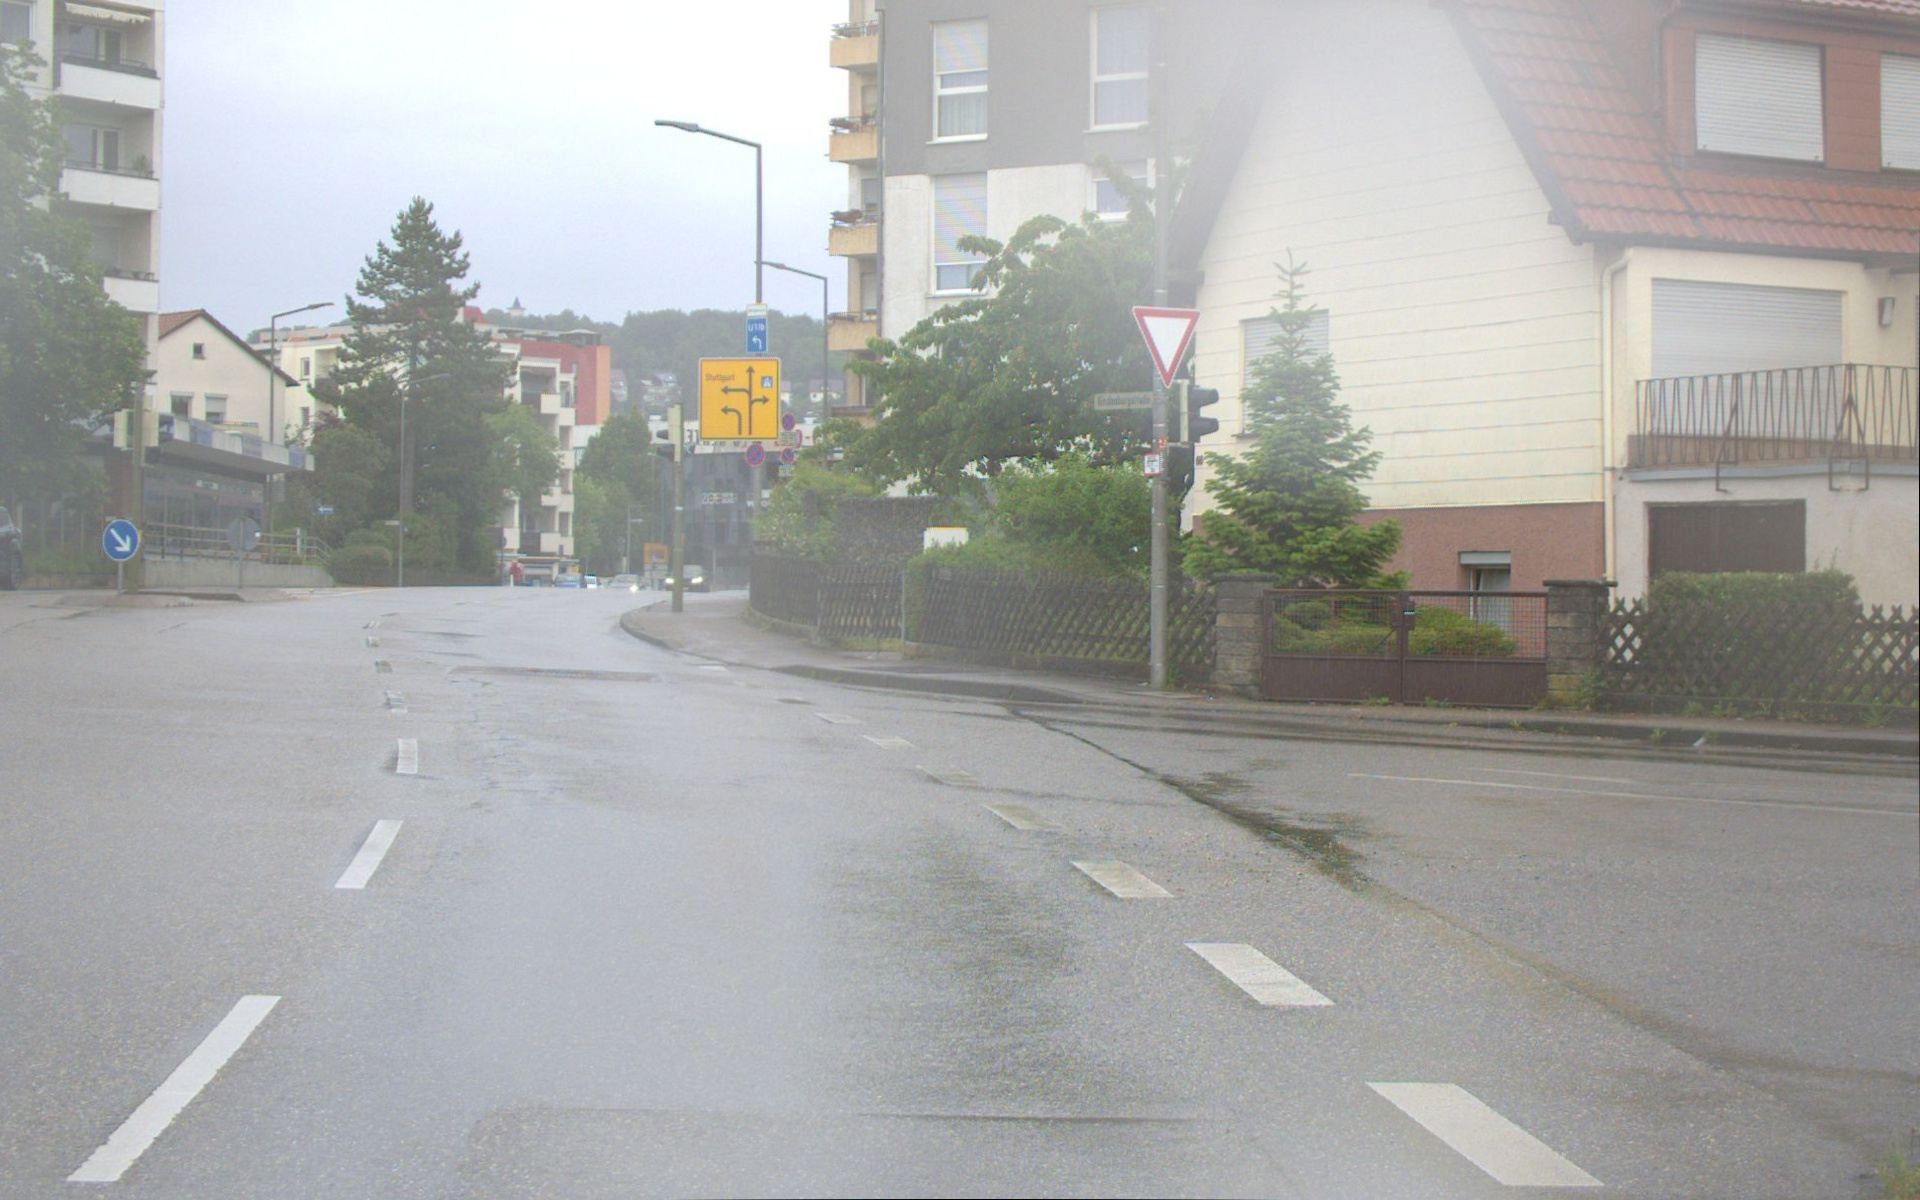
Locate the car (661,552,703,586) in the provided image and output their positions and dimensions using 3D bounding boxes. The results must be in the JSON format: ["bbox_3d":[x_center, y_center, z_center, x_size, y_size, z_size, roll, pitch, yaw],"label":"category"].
[{"bbox_3d":[-14.718,-1.631,181.599,1.993,1.731,5.182,1,1,-7],"label":"car"}]

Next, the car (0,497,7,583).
[{"bbox_3d":[-18.583,-1.097,61.811,1.879,1.592,4.185,1,1,-2],"label":"car"}]
